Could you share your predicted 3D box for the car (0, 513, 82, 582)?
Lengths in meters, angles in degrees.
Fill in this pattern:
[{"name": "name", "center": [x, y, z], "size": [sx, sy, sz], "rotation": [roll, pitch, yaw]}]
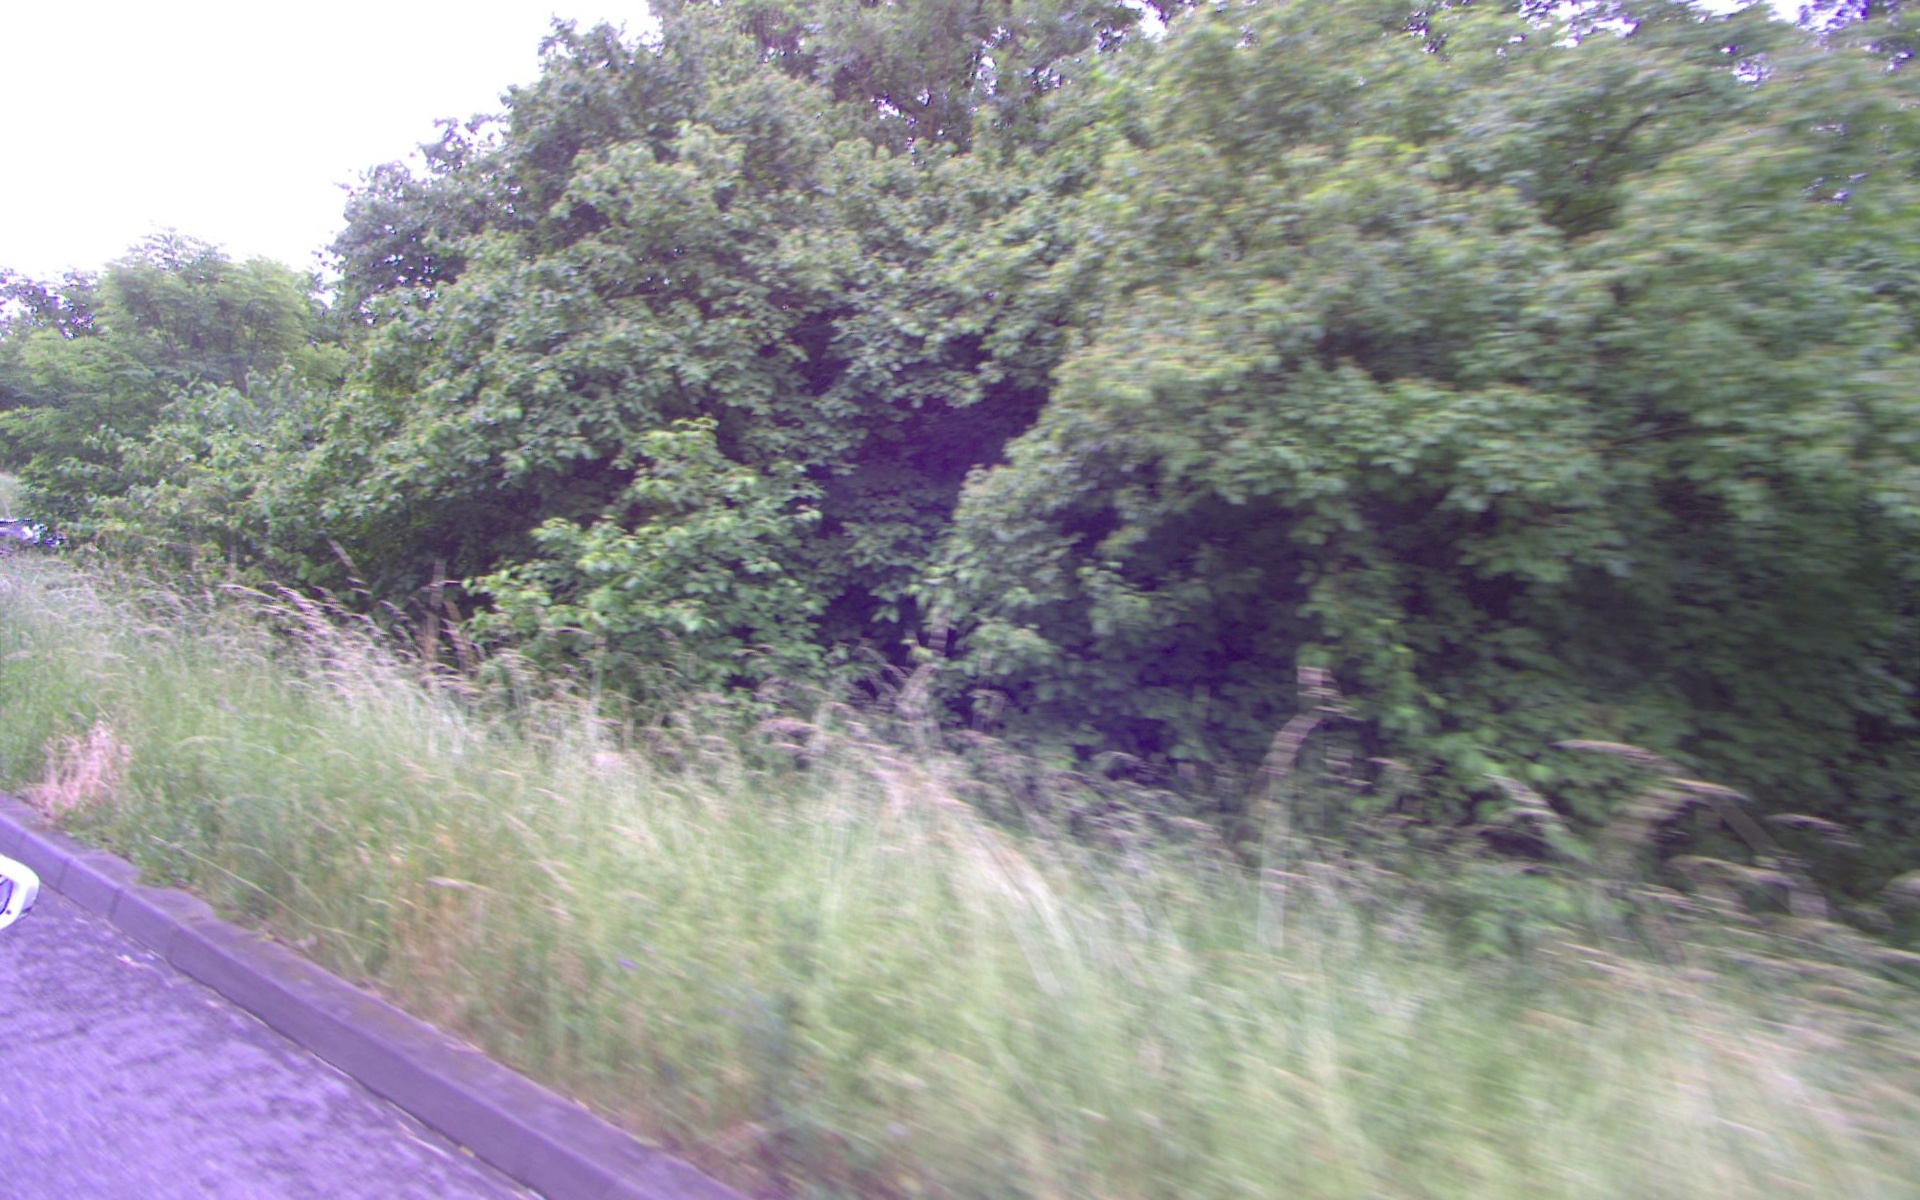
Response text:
[{"name": "car", "center": [-23.865, -1.374, 25.253], "size": [1.887, 1.483, 3.968], "rotation": [9, -2, -31]}]
